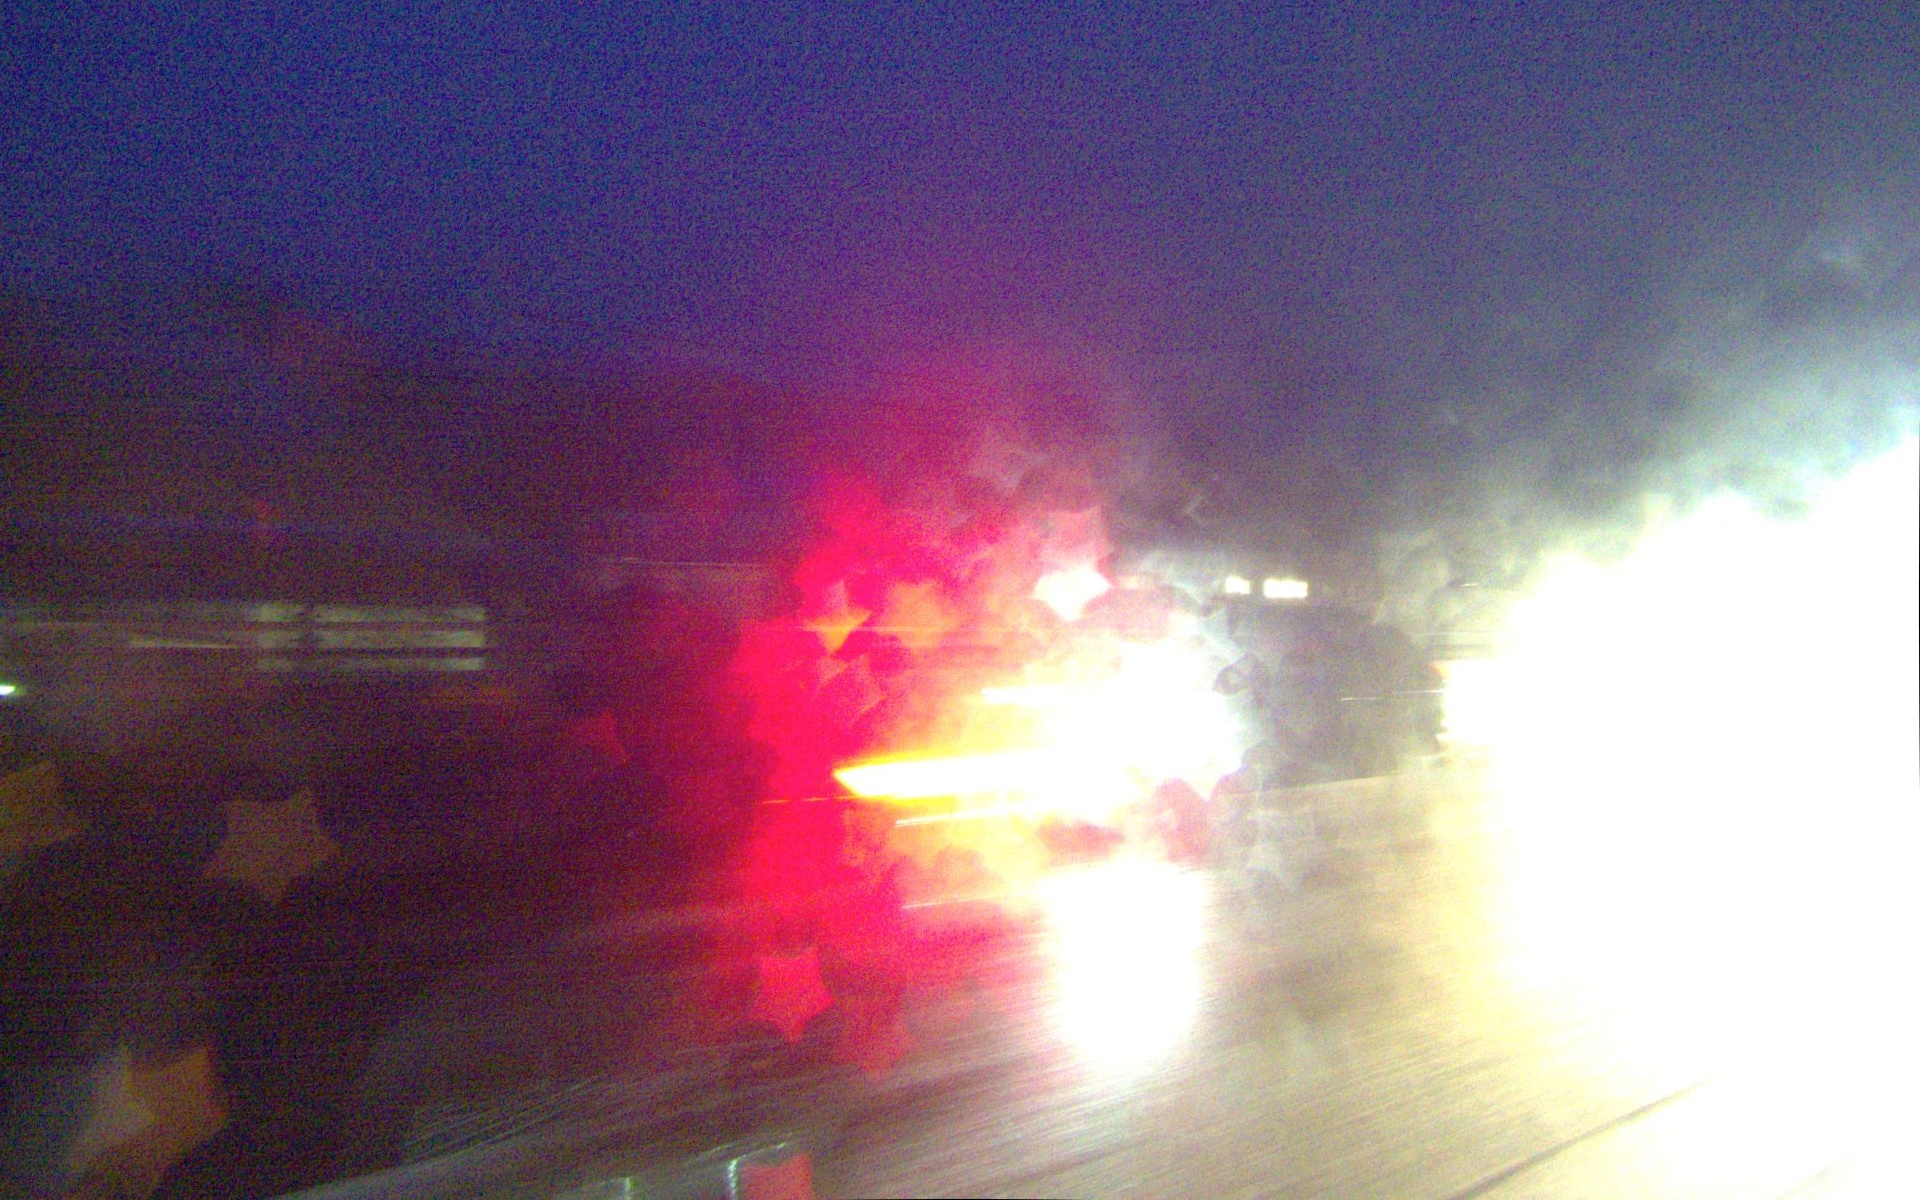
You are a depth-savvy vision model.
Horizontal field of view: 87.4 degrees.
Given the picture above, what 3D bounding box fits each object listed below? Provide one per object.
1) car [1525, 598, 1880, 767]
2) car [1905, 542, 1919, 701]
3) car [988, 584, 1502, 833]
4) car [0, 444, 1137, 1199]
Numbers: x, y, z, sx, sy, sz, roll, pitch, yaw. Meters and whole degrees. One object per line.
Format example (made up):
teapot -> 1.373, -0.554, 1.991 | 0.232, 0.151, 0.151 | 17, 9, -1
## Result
car -> 8.582, 0.834, 11.533 | 4.261, 1.609, 1.712 | 1, 0, -30
car -> 19.759, 0.439, 18.185 | 6.165, 2.744, 2.113 | 1, 1, -30
car -> 2.277, 0.687, 7.861 | 3.782, 1.528, 1.712 | 1, 0, -30
car -> -1.828, 0.581, 2.313 | 4.369, 1.651, 1.794 | 1, 0, -34
